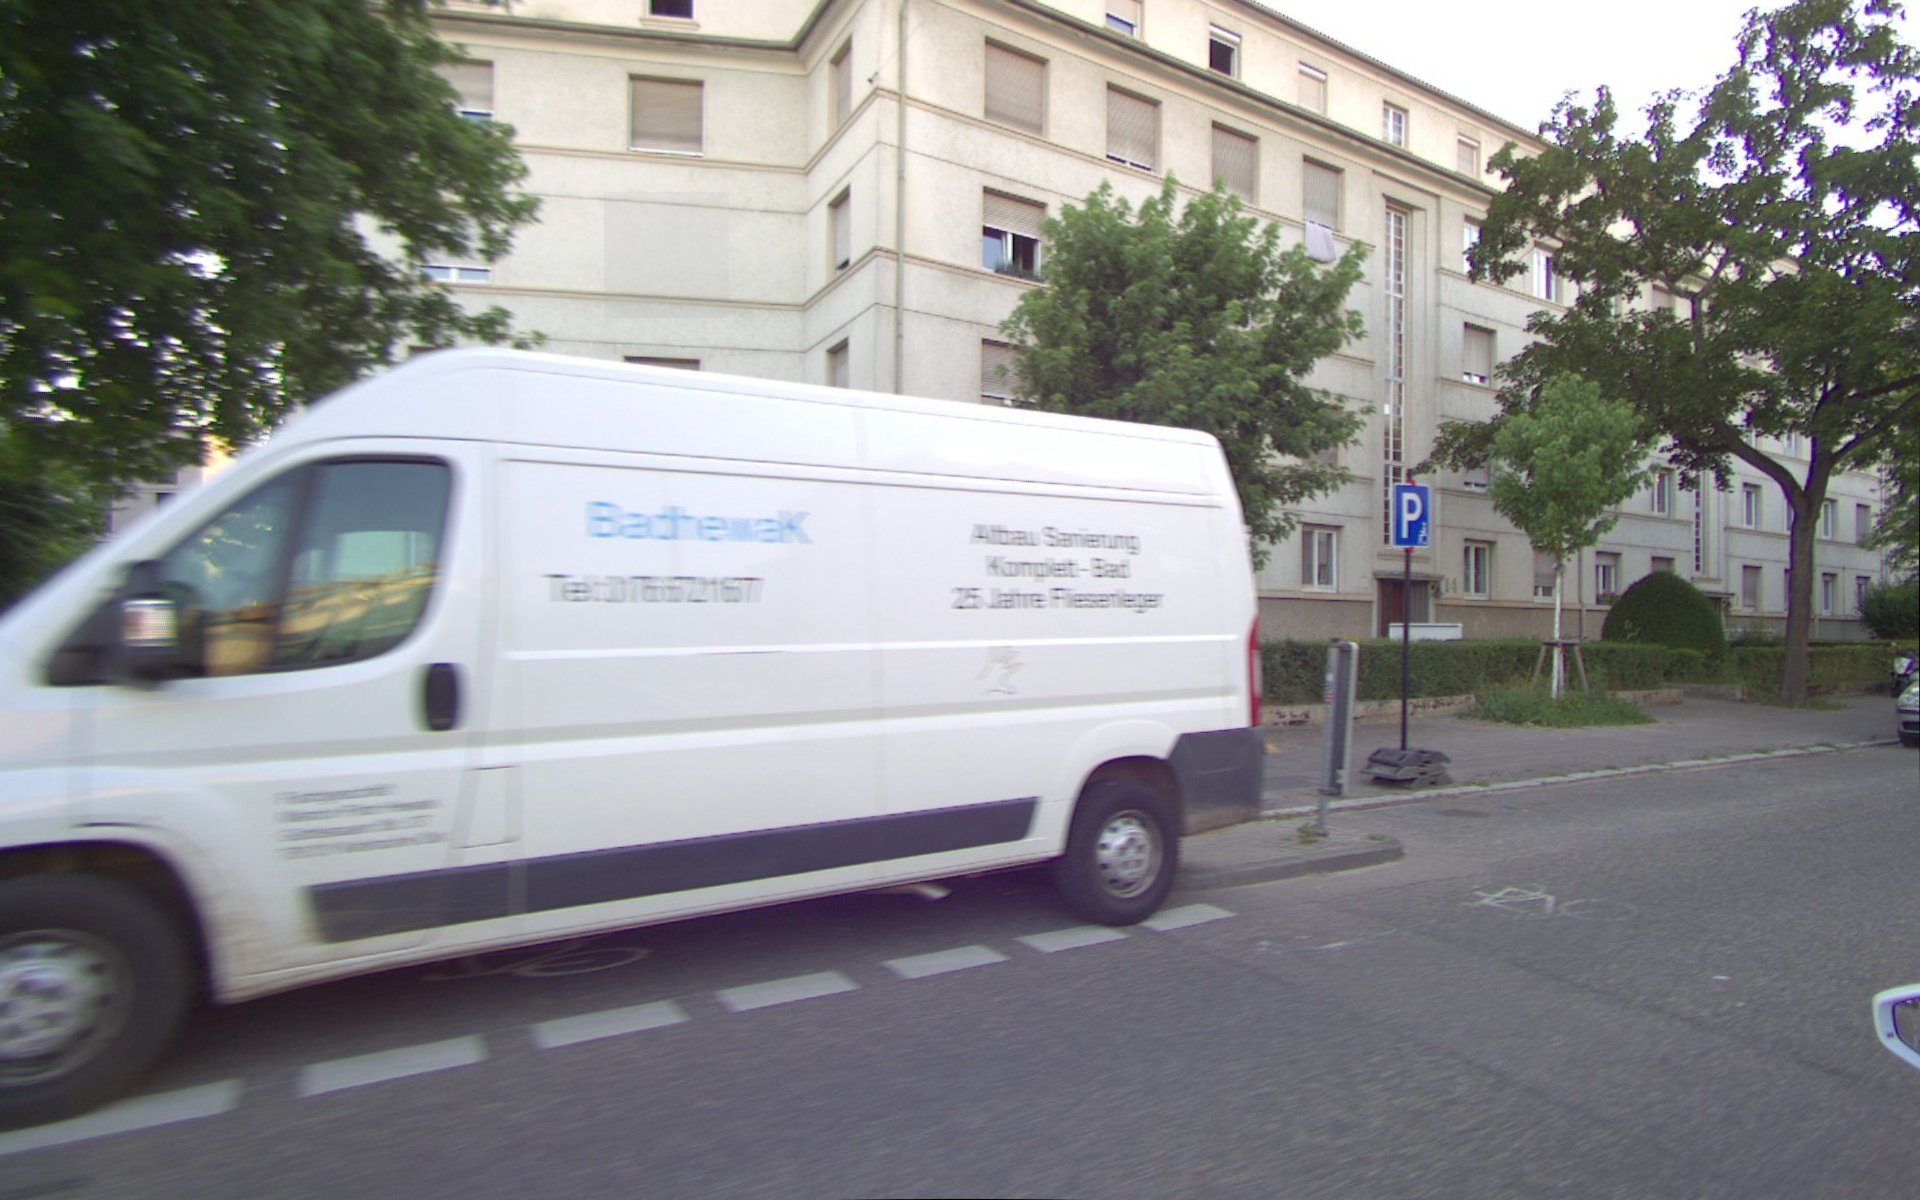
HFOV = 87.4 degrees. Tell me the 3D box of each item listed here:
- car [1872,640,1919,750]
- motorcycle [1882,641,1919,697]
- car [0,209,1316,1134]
[{"bbox_3d":[15.054,1.311,14.350,4.173,1.490,1.745,1,-5,-30],"label":"car"},{"bbox_3d":[23.508,1.693,24.813,1.807,1.342,0.583,2,-2,-31],"label":"motorcycle"},{"bbox_3d":[-1.248,0.296,4.788,6.033,2.493,2.169,2,-4,-31],"label":"car"}]
